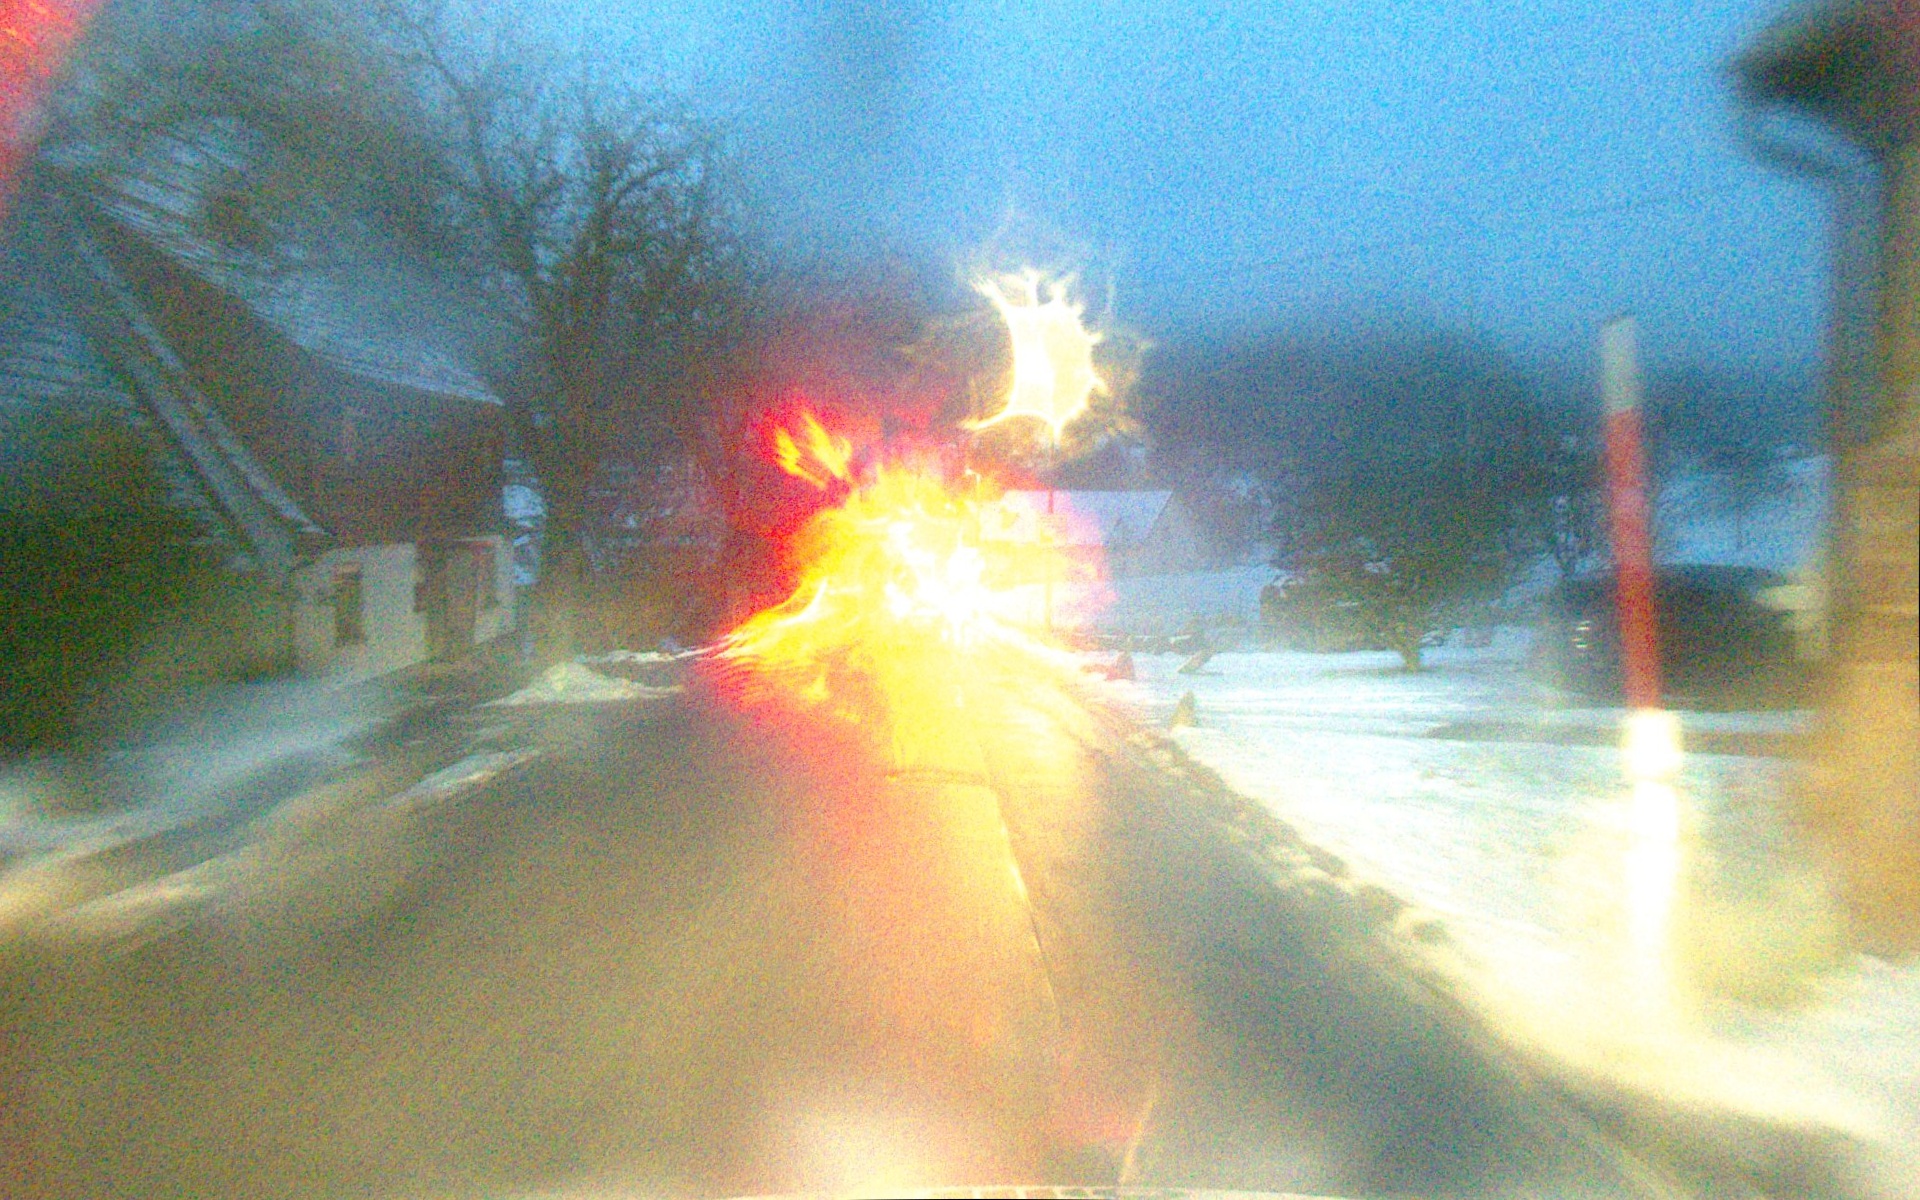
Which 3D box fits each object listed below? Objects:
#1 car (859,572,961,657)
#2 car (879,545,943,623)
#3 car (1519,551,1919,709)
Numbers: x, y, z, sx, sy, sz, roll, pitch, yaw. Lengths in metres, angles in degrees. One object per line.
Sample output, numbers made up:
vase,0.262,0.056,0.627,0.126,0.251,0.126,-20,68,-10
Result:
car,-1.155,0.302,38.985,2.228,1.873,5.005,0,0,-1
car,-1.990,-0.611,68.785,2.385,3.072,5.325,0,-1,1
car,9.179,0.329,19.916,4.302,1.686,1.864,-2,1,6
